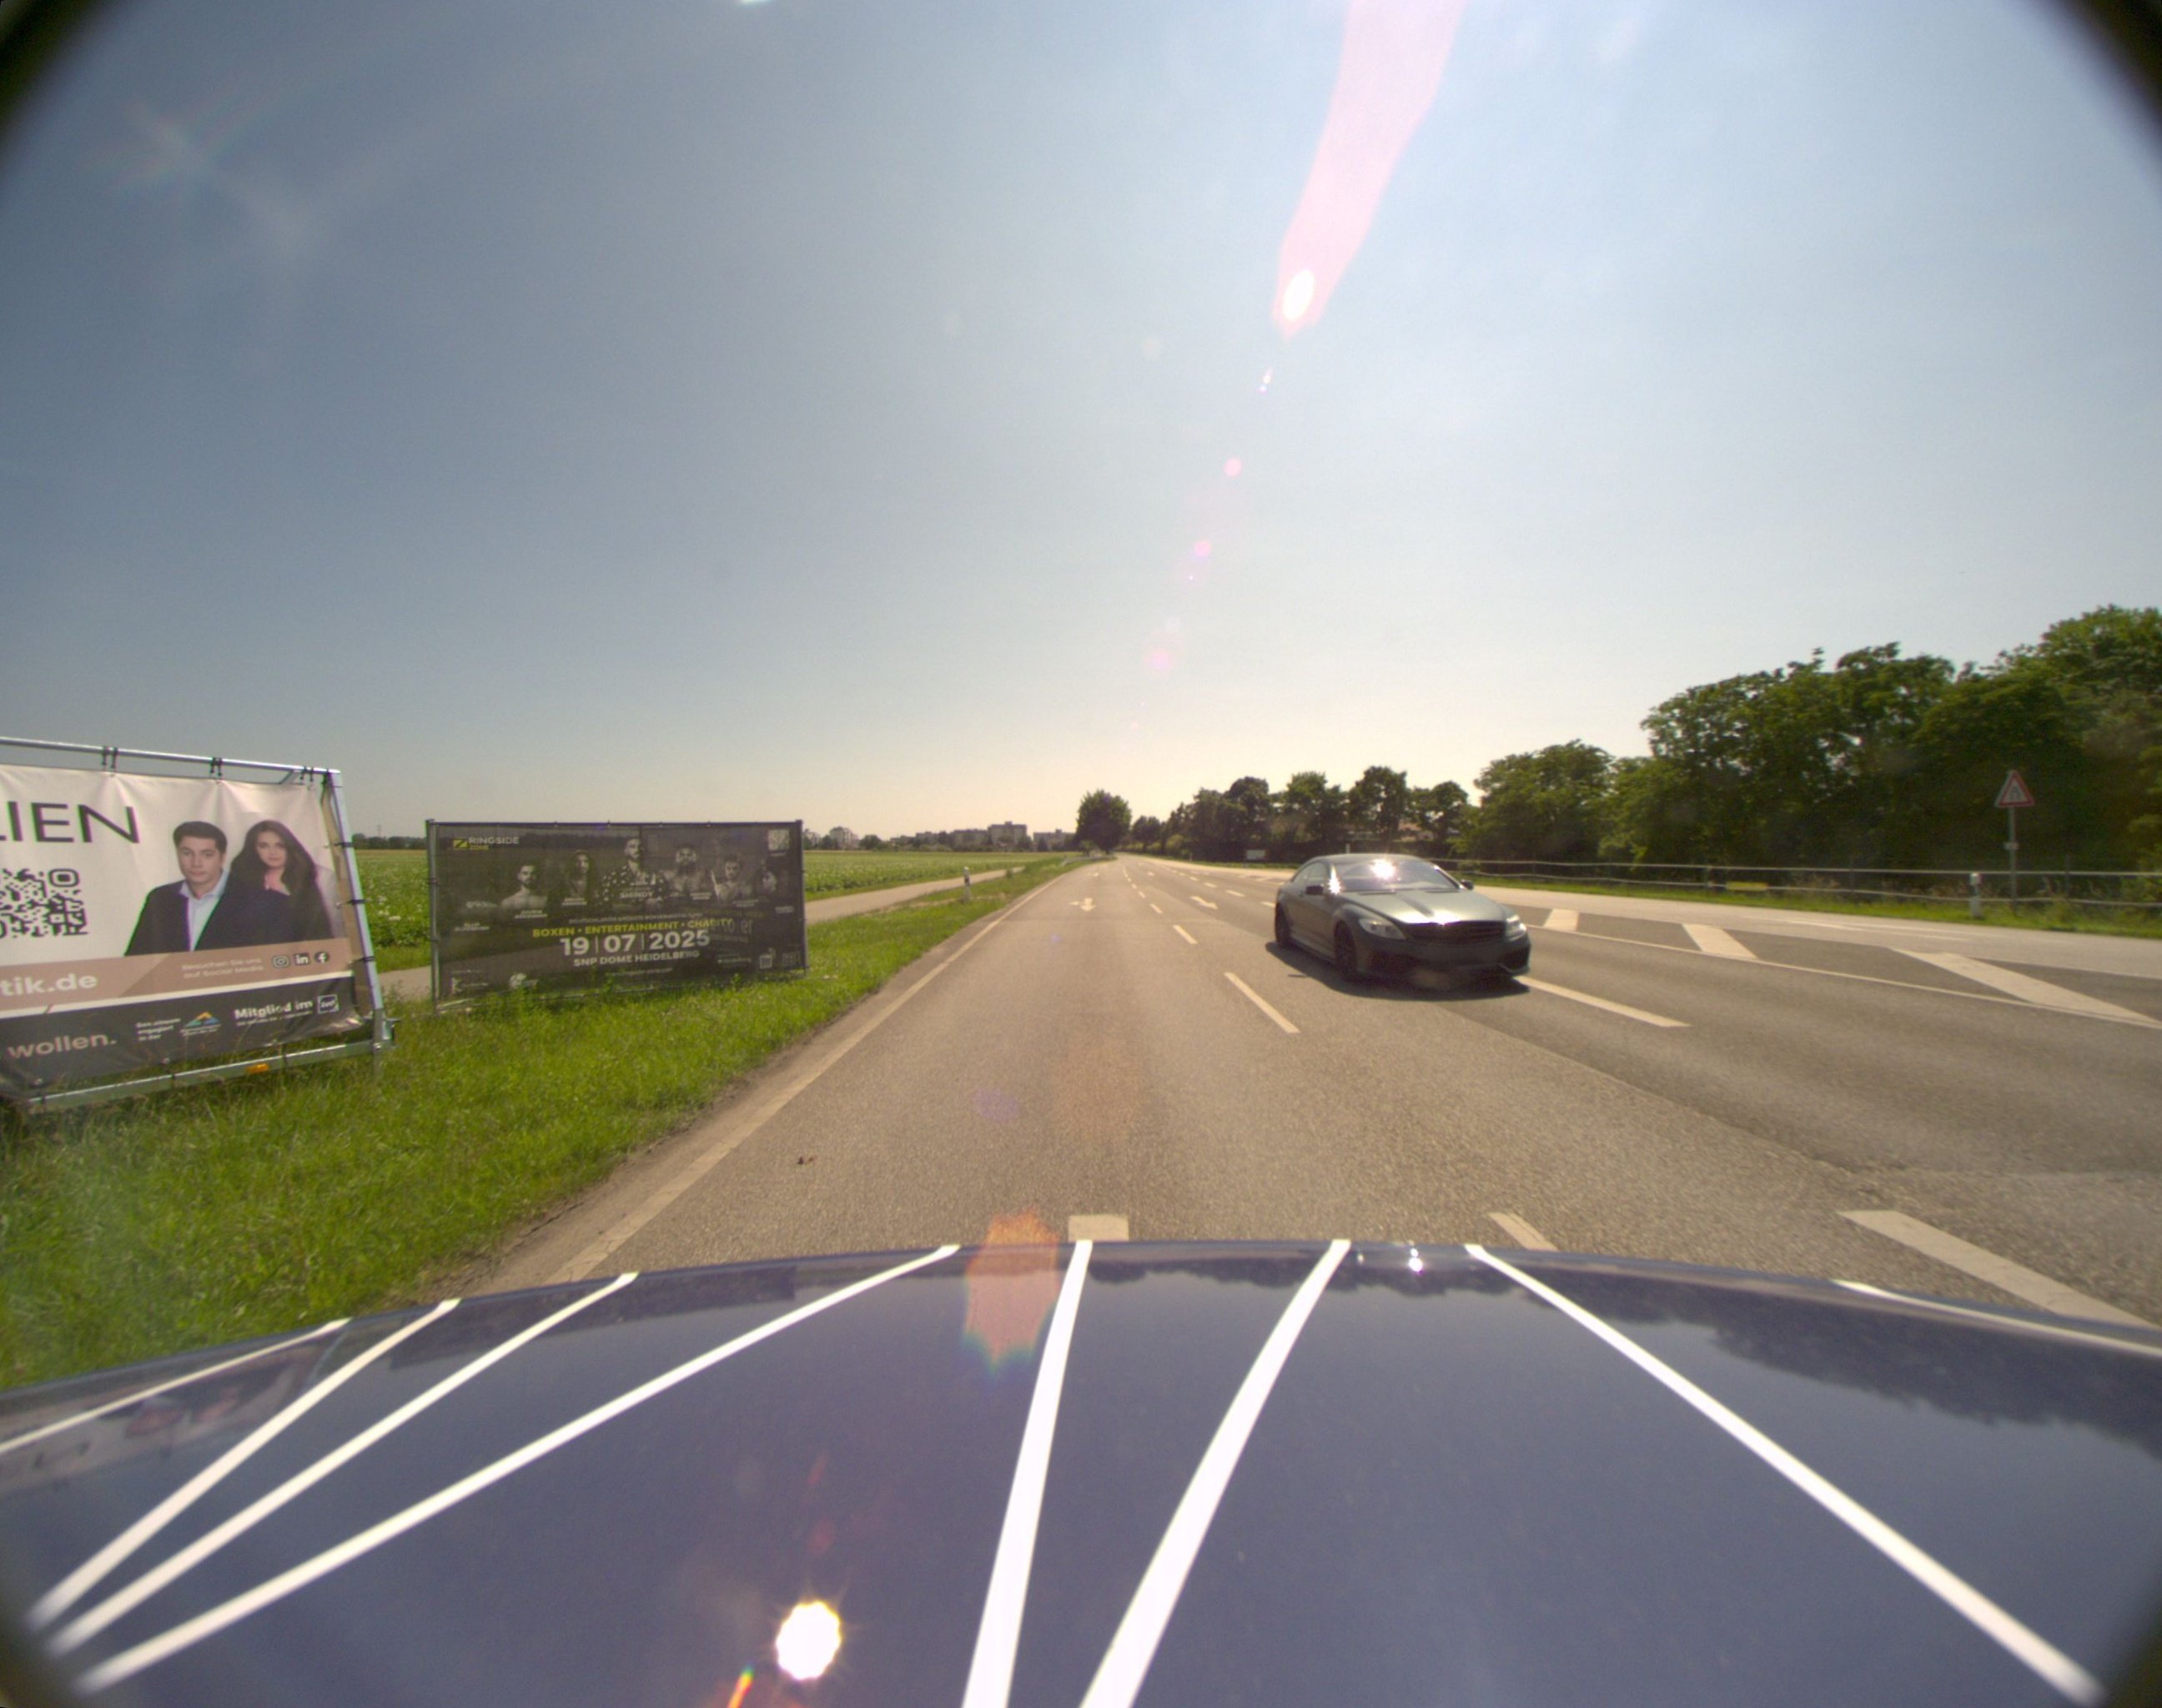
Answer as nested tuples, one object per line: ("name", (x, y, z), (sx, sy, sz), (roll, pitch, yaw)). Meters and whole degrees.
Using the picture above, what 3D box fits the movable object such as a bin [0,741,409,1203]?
("movable object such as a bin", (-6.383, 0.627, 3.668), (1.523, 2.349, 4.429), (-1, 1, 19))

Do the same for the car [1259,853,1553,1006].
("car", (3.820, 0.754, 10.025), (1.815, 1.441, 4.876), (-2, 1, 1))
